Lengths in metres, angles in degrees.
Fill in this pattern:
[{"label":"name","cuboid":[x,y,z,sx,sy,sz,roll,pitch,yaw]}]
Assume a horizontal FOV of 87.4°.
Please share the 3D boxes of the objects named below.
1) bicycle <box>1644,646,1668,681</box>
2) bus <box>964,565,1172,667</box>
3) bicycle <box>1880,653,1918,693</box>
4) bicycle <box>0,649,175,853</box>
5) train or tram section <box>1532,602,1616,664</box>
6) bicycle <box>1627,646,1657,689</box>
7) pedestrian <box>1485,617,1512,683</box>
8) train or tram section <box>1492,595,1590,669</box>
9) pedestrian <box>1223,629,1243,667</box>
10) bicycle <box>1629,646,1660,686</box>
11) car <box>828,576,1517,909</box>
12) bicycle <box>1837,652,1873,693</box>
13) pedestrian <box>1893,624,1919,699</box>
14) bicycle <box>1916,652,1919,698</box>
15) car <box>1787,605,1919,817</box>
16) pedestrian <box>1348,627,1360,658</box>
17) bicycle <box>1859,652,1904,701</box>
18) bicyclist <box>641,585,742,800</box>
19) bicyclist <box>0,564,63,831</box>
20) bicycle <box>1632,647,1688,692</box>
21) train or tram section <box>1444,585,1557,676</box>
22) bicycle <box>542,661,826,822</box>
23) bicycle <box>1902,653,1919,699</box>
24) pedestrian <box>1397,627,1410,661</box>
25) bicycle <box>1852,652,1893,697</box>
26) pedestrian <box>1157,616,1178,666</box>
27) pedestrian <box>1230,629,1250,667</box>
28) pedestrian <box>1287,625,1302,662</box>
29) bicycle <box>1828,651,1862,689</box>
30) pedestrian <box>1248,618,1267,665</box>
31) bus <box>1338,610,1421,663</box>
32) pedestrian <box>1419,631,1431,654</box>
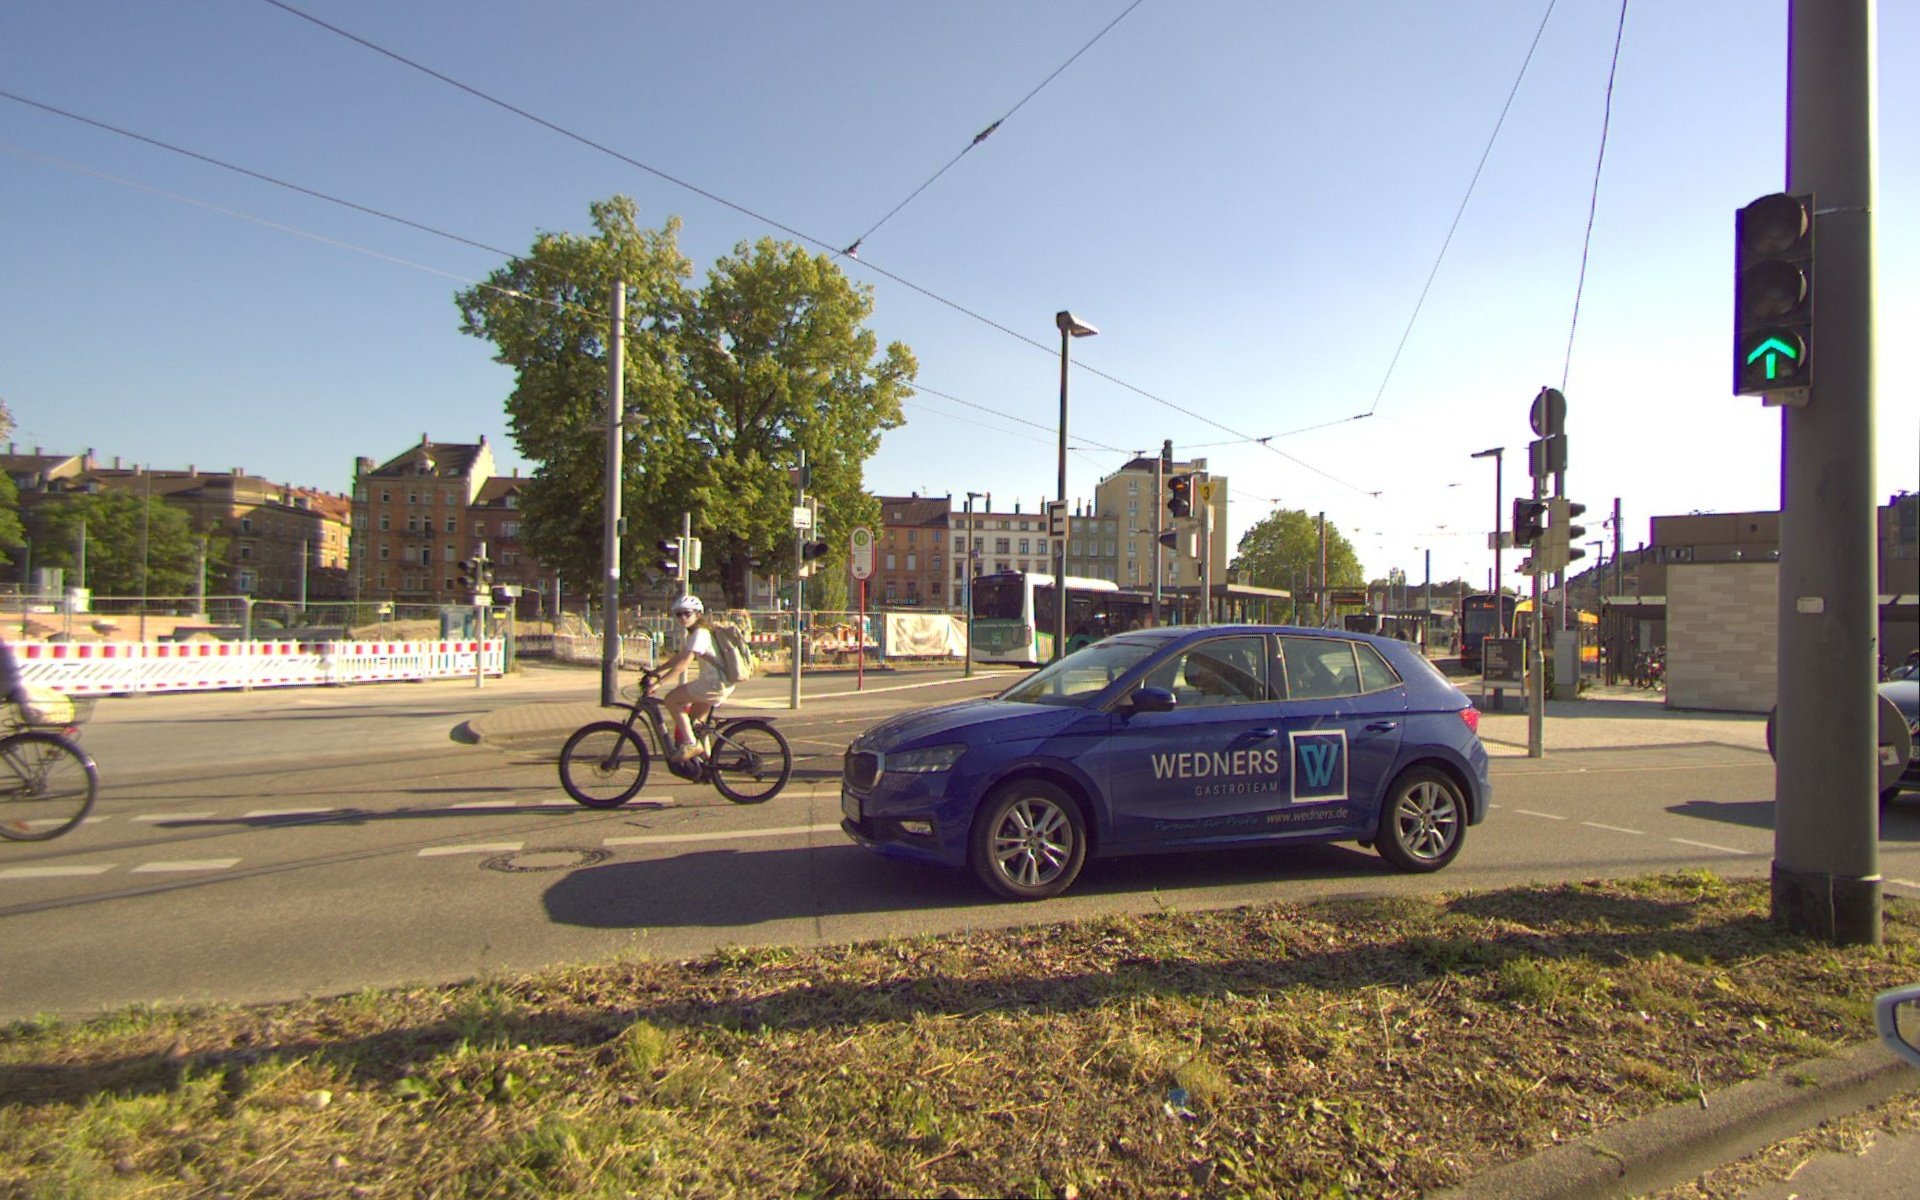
[{"label":"bicycle","cuboid":[24.021,2.177,34.651,0.599,1.129,1.890,2,0,36]},{"label":"bus","cuboid":[4.195,0.613,36.082,2.621,3.177,9.603,2,0,39]},{"label":"bicycle","cuboid":[28.790,2.221,30.818,0.599,1.129,1.890,2,0,36]},{"label":"bicycle","cuboid":[-6.635,0.951,6.406,2.419,1.266,0.674,1,-4,-20]},{"label":"train or tram section","cuboid":[40.290,2.180,65.678,3.003,3.644,11.998,2,-1,39]},{"label":"bicycle","cuboid":[19.241,1.893,28.328,0.599,1.129,1.890,2,0,36]},{"label":"pedestrian","cuboid":[14.762,1.356,27.514,0.628,1.772,0.571,0,-2,30]},{"label":"train or tram section","cuboid":[32.748,1.803,56.288,2.975,3.644,12.148,2,0,38]},{"label":"pedestrian","cuboid":[9.912,1.722,36.438,0.607,1.358,0.440,0,-2,32]},{"label":"bicycle","cuboid":[20.394,1.952,29.919,0.599,1.129,1.889,2,0,38]},{"label":"car","cuboid":[1.263,0.809,6.287,3.863,1.594,1.736,2,-4,-19]},{"label":"bicycle","cuboid":[26.714,2.150,30.006,0.599,1.129,1.890,2,0,36]},{"label":"pedestrian","cuboid":[24.709,1.590,25.843,0.889,1.893,0.684,2,0,37]},{"label":"bicycle","cuboid":[23.988,1.870,24.572,0.599,1.129,1.890,2,0,36]},{"label":"car","cuboid":[9.923,0.958,8.975,4.458,1.728,1.761,1,-3,-18]},{"label":"pedestrian","cuboid":[22.797,2.474,58.176,0.562,1.772,0.639,0,-2,30]},{"label":"bicycle","cuboid":[23.193,1.904,25.290,0.599,1.129,1.890,2,0,36]},{"label":"bicyclist","cuboid":[-2.225,0.736,8.288,0.732,1.679,0.708,1,-2,-19]},{"label":"bicyclist","cuboid":[-6.549,0.626,6.459,0.887,1.678,0.708,1,-4,-19]},{"label":"bicycle","cuboid":[18.574,1.843,26.655,1.878,1.129,0.602,3,0,-36]},{"label":"train or tram section","cuboid":[25.335,1.418,46.650,2.844,3.644,12.155,2,0,37]},{"label":"bicycle","cuboid":[-2.240,1.112,8.278,2.149,1.196,0.673,1,-2,-20]},{"label":"bicycle","cuboid":[25.134,1.989,26.180,0.599,1.129,1.890,2,0,36]},{"label":"pedestrian","cuboid":[23.067,2.296,52.239,0.627,1.772,0.572,0,-2,22]},{"label":"bicycle","cuboid":[24.474,1.980,26.964,0.599,1.129,1.890,2,0,36]},{"label":"pedestrian","cuboid":[7.324,1.446,35.462,0.532,1.772,0.556,-1,-2,43]},{"label":"pedestrian","cuboid":[10.319,1.764,37.005,0.562,1.363,0.638,0,-2,32]},{"label":"pedestrian","cuboid":[16.023,2.078,48.070,0.627,1.772,0.572,0,-2,22]},{"label":"bicycle","cuboid":[27.878,2.188,31.656,0.599,1.129,1.890,2,0,36]},{"label":"pedestrian","cuboid":[11.416,1.600,38.576,0.562,1.772,0.638,0,-2,32]},{"label":"bus","cuboid":[29.772,2.537,70.862,2.684,3.317,13.426,2,0,34]},{"label":"pedestrian","cuboid":[35.791,3.246,77.343,0.725,1.772,0.636,-1,-2,42]}]
